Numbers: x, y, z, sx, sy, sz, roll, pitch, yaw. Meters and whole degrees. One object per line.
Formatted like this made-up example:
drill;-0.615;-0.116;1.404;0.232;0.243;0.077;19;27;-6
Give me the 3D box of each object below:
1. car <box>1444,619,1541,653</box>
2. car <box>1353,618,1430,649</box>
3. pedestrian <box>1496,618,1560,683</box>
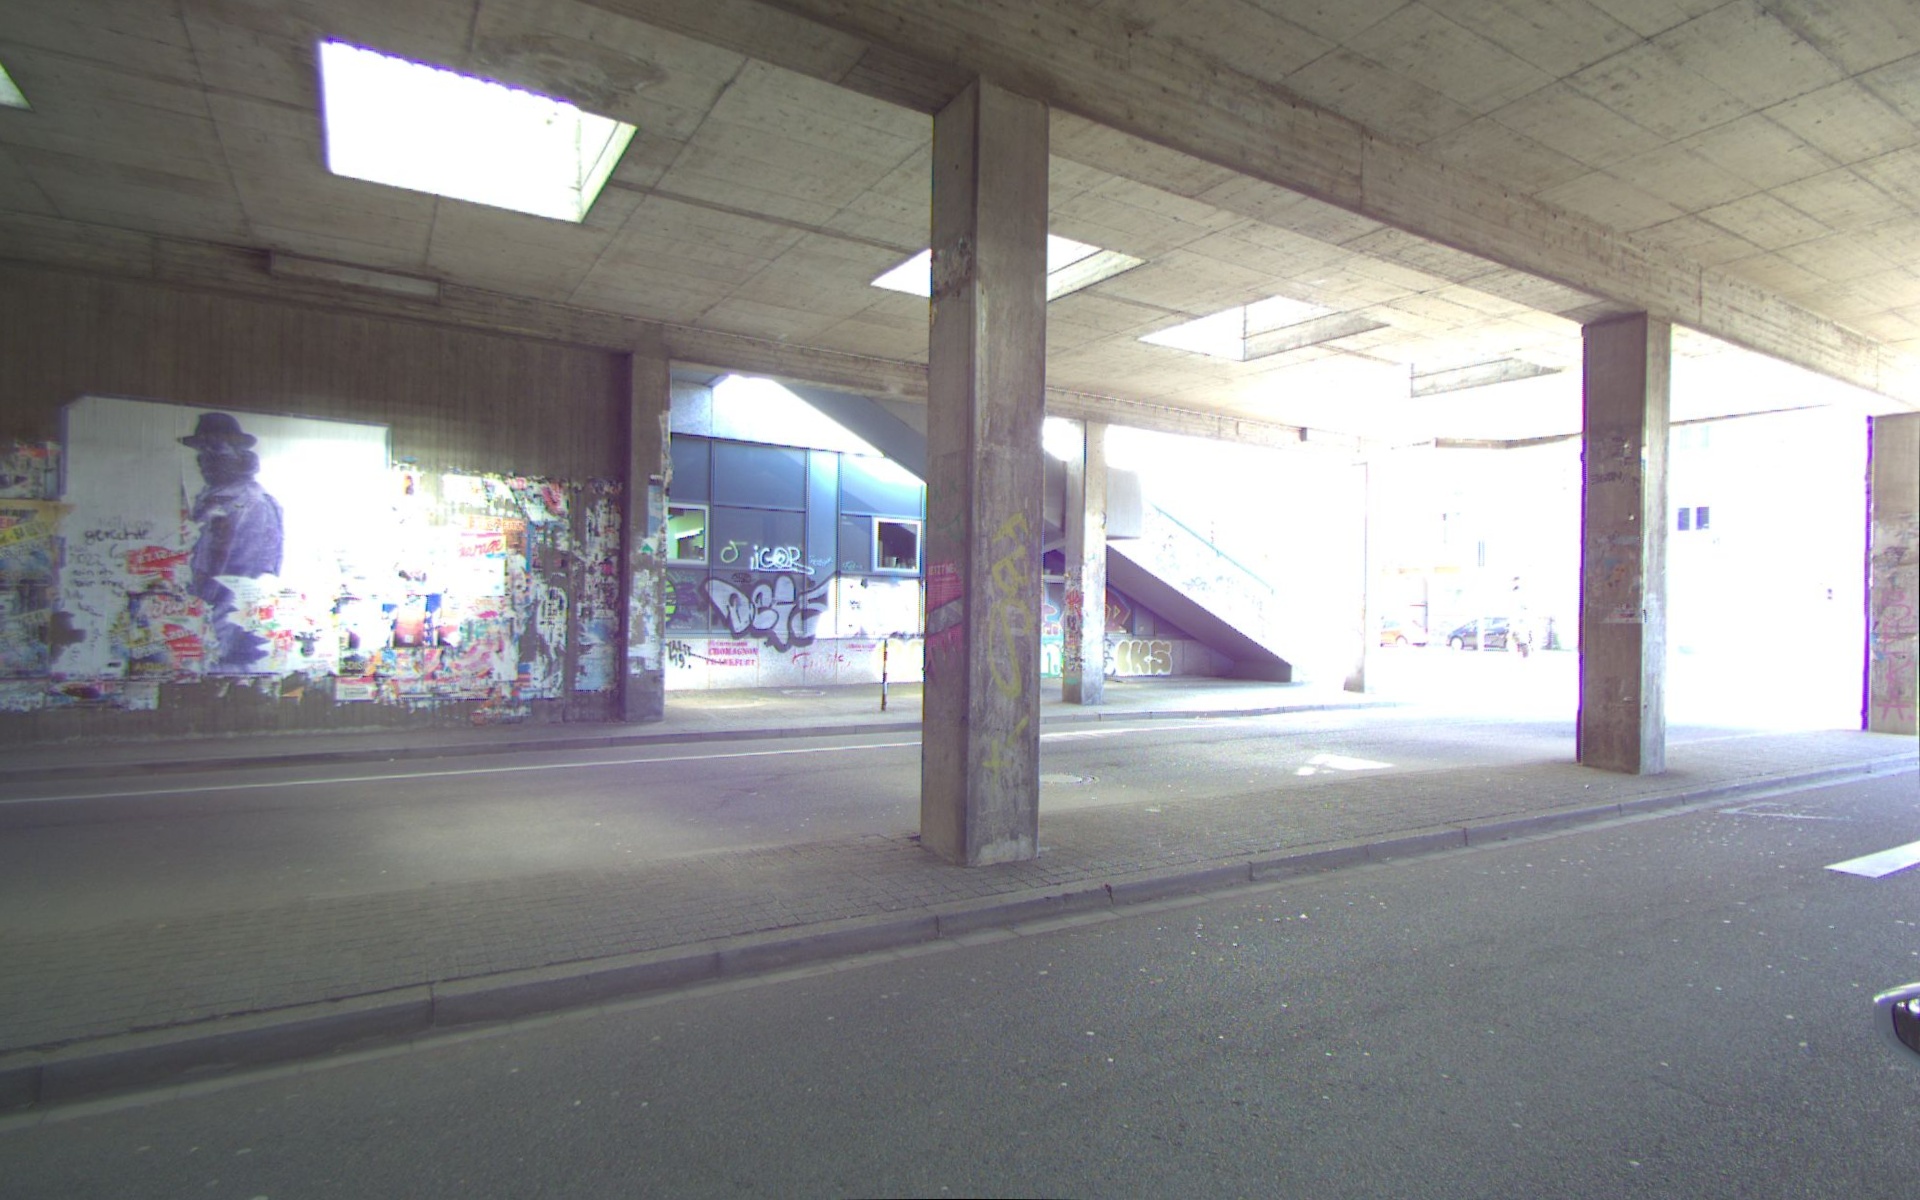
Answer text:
car;25.282;1.674;47.794;1.732;1.528;3.735;1;-1;-31
car;22.467;1.725;52.454;1.543;1.526;3.518;1;-1;-29
pedestrian;15.951;1.408;28.214;1.123;1.760;1.111;1;-1;-17
